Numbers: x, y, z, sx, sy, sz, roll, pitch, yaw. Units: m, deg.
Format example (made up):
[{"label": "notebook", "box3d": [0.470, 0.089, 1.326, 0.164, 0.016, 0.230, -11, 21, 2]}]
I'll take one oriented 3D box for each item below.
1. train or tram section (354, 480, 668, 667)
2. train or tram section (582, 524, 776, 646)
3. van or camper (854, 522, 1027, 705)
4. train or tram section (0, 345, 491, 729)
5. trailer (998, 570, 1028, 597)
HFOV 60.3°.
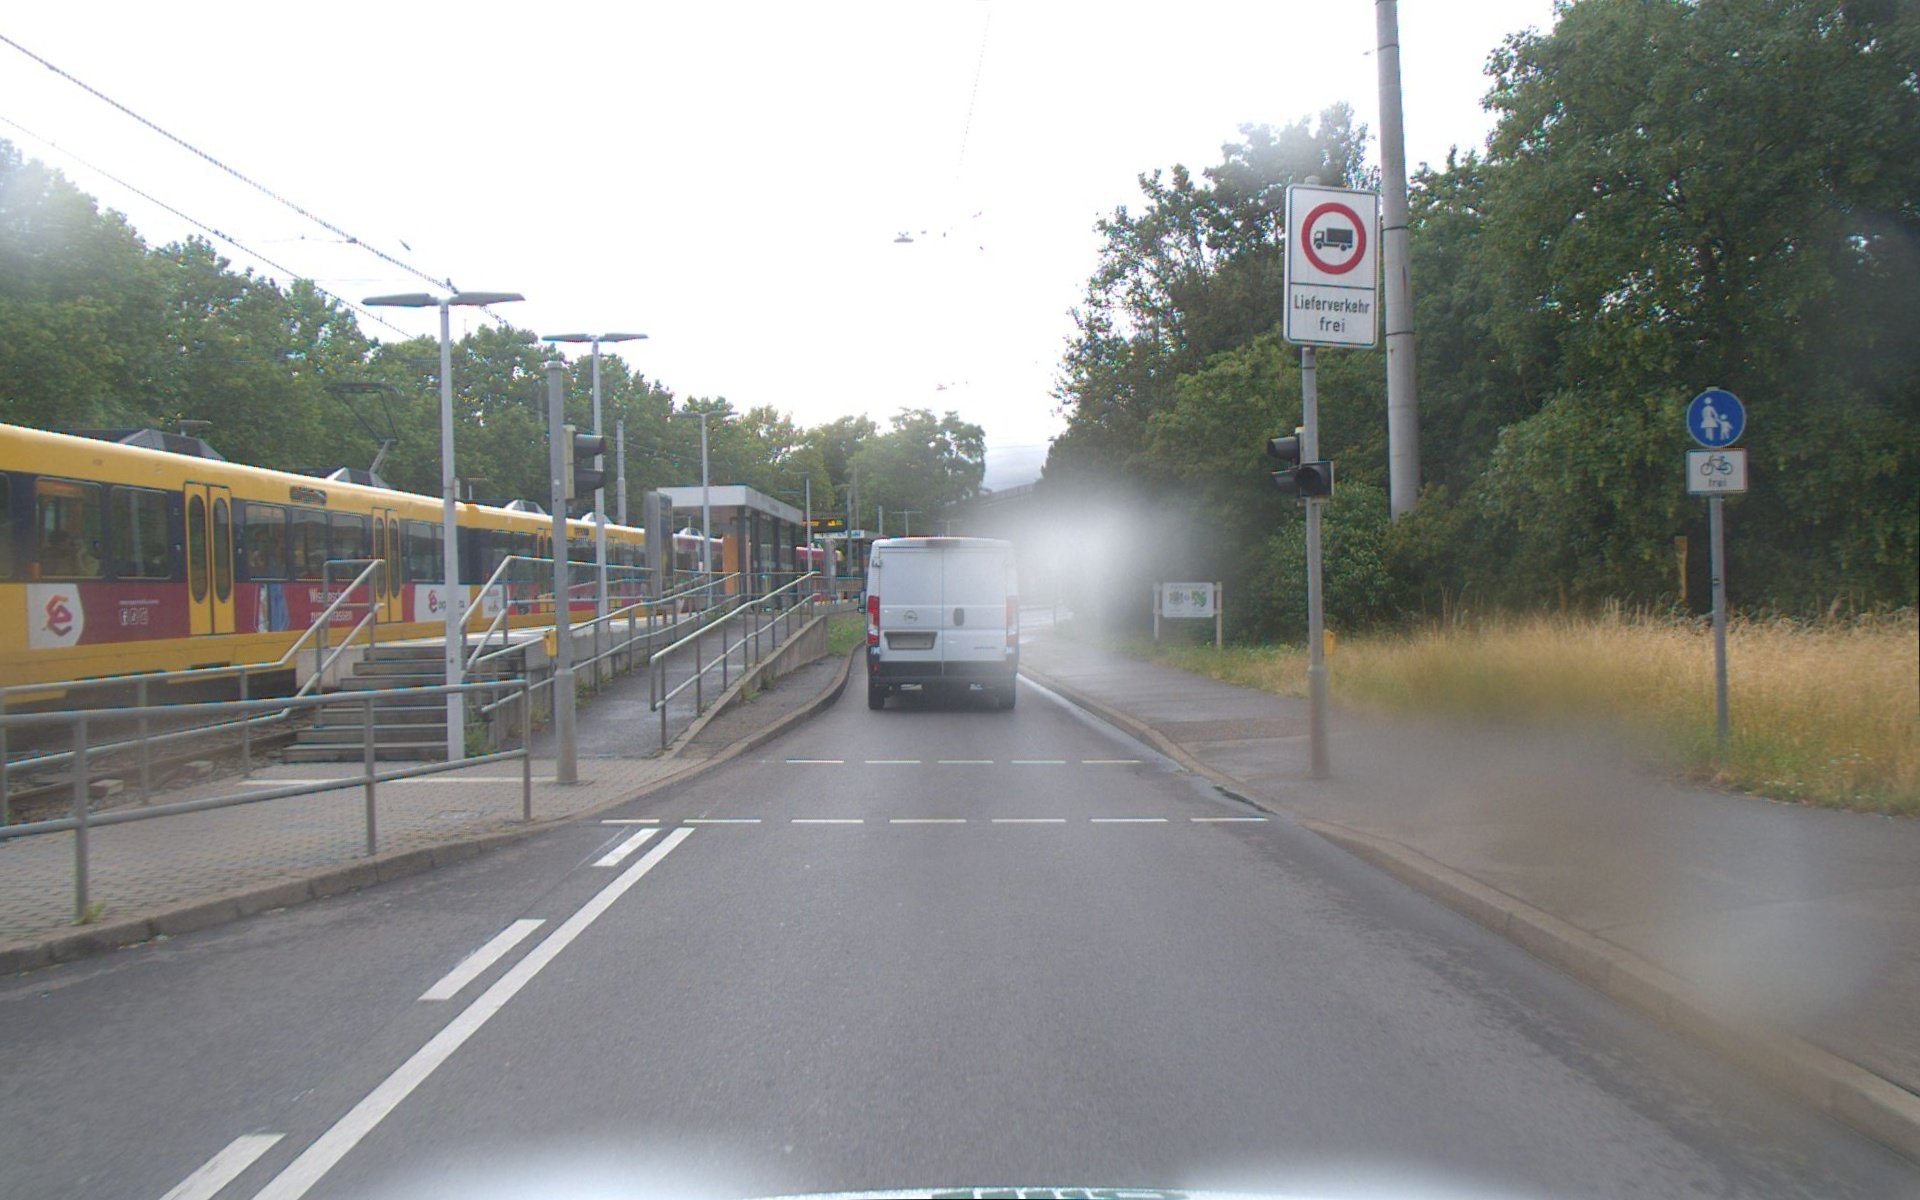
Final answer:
[{"label": "train or tram section", "box3d": [-11.475, -0.528, 45.643, 2.808, 4.023, 19.334, 1, 0, 2]}, {"label": "train or tram section", "box3d": [-10.458, -0.447, 64.889, 2.807, 4.040, 19.341, 1, 0, 4]}, {"label": "van or camper", "box3d": [-0.393, 0.186, 23.440, 2.155, 2.292, 4.680, 1, 0, -4]}, {"label": "train or tram section", "box3d": [-11.599, -0.649, 26.407, 2.809, 4.042, 19.328, 1, 0, 0]}, {"label": "trailer", "box3d": [5.581, -1.722, 174.938, 1.963, 2.773, 4.102, 0, -1, -18]}]
